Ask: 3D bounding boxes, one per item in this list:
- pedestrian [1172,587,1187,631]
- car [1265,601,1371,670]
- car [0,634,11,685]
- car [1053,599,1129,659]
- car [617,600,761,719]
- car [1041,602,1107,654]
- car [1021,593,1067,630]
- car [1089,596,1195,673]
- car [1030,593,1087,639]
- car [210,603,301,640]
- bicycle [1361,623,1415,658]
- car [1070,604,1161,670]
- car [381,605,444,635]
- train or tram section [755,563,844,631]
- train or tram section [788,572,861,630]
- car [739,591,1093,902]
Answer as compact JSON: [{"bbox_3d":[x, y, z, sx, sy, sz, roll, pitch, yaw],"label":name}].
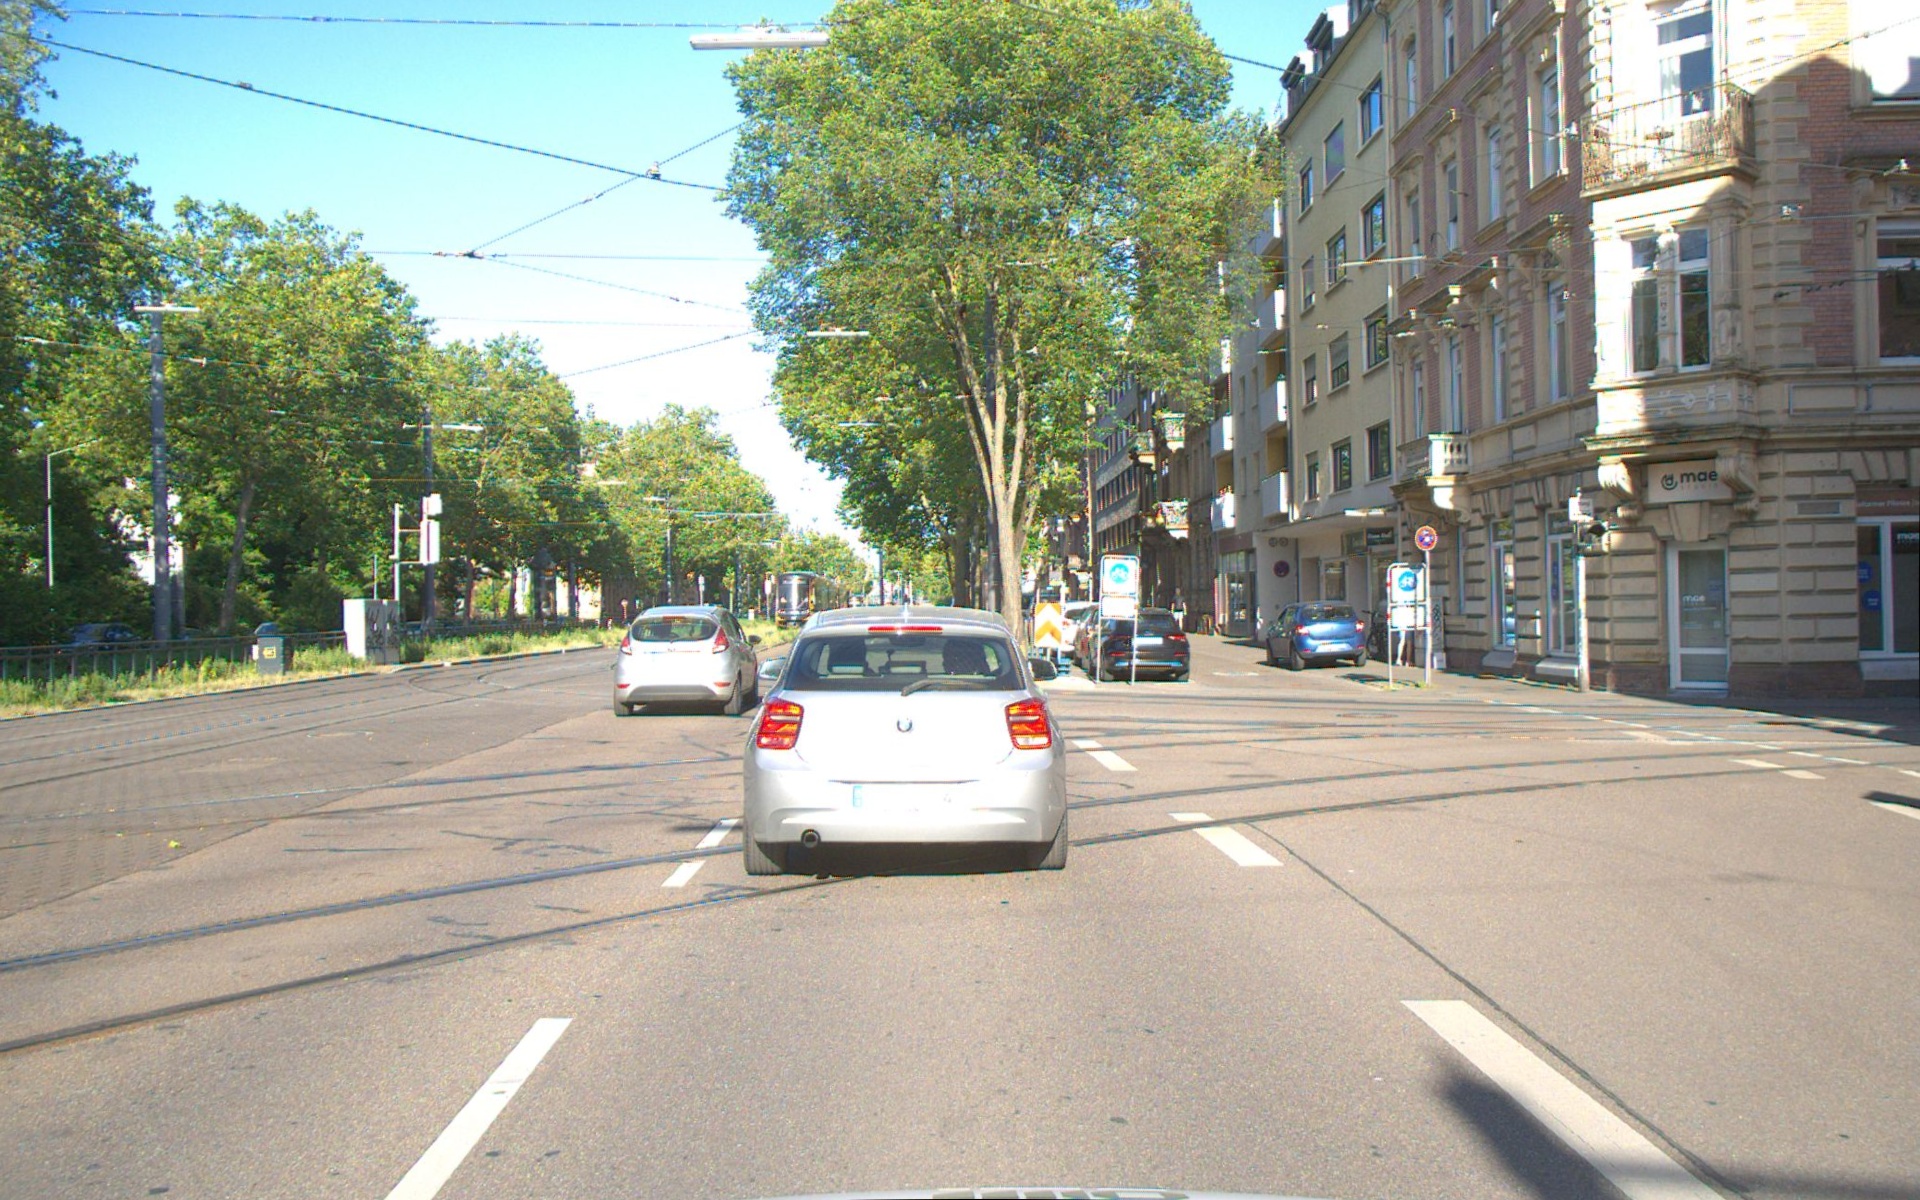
[{"bbox_3d":[9.391,0.377,70.681,0.495,1.833,0.805,-1,0,0],"label":"pedestrian"},{"bbox_3d":[8.471,0.809,39.388,1.700,1.546,3.636,0,0,-1],"label":"car"},{"bbox_3d":[-29.633,1.756,47.926,1.897,1.536,4.277,-1,-1,-1],"label":"car"},{"bbox_3d":[3.484,0.755,44.612,1.689,1.533,3.554,0,0,-1],"label":"car"},{"bbox_3d":[-3.730,0.767,23.273,1.577,1.493,3.887,-1,0,-3],"label":"car"},{"bbox_3d":[3.466,0.826,50.717,1.689,1.533,3.554,0,0,-1],"label":"car"},{"bbox_3d":[3.533,0.477,69.939,1.689,1.533,3.554,0,0,-1],"label":"car"},{"bbox_3d":[3.632,0.660,33.538,1.700,1.458,3.677,0,0,-1],"label":"car"},{"bbox_3d":[3.392,0.532,57.426,1.689,1.533,3.554,0,0,-1],"label":"car"},{"bbox_3d":[-30.041,0.935,70.698,1.897,1.536,4.847,-1,-1,-1],"label":"car"},{"bbox_3d":[10.230,0.953,39.592,0.739,0.784,1.945,-1,0,-1],"label":"bicycle"},{"bbox_3d":[3.608,0.832,38.861,1.708,1.458,3.554,0,0,-1],"label":"car"},{"bbox_3d":[-29.571,1.083,89.529,1.897,1.536,4.848,-1,0,-1],"label":"car"},{"bbox_3d":[-9.992,-0.181,105.586,3.888,3.933,17.487,-1,0,0],"label":"train or tram section"},{"bbox_3d":[-9.877,0.048,123.017,3.923,3.933,17.487,-1,0,0],"label":"train or tram section"},{"bbox_3d":[-0.215,0.714,10.068,1.704,1.493,4.000,1,0,0],"label":"car"}]
